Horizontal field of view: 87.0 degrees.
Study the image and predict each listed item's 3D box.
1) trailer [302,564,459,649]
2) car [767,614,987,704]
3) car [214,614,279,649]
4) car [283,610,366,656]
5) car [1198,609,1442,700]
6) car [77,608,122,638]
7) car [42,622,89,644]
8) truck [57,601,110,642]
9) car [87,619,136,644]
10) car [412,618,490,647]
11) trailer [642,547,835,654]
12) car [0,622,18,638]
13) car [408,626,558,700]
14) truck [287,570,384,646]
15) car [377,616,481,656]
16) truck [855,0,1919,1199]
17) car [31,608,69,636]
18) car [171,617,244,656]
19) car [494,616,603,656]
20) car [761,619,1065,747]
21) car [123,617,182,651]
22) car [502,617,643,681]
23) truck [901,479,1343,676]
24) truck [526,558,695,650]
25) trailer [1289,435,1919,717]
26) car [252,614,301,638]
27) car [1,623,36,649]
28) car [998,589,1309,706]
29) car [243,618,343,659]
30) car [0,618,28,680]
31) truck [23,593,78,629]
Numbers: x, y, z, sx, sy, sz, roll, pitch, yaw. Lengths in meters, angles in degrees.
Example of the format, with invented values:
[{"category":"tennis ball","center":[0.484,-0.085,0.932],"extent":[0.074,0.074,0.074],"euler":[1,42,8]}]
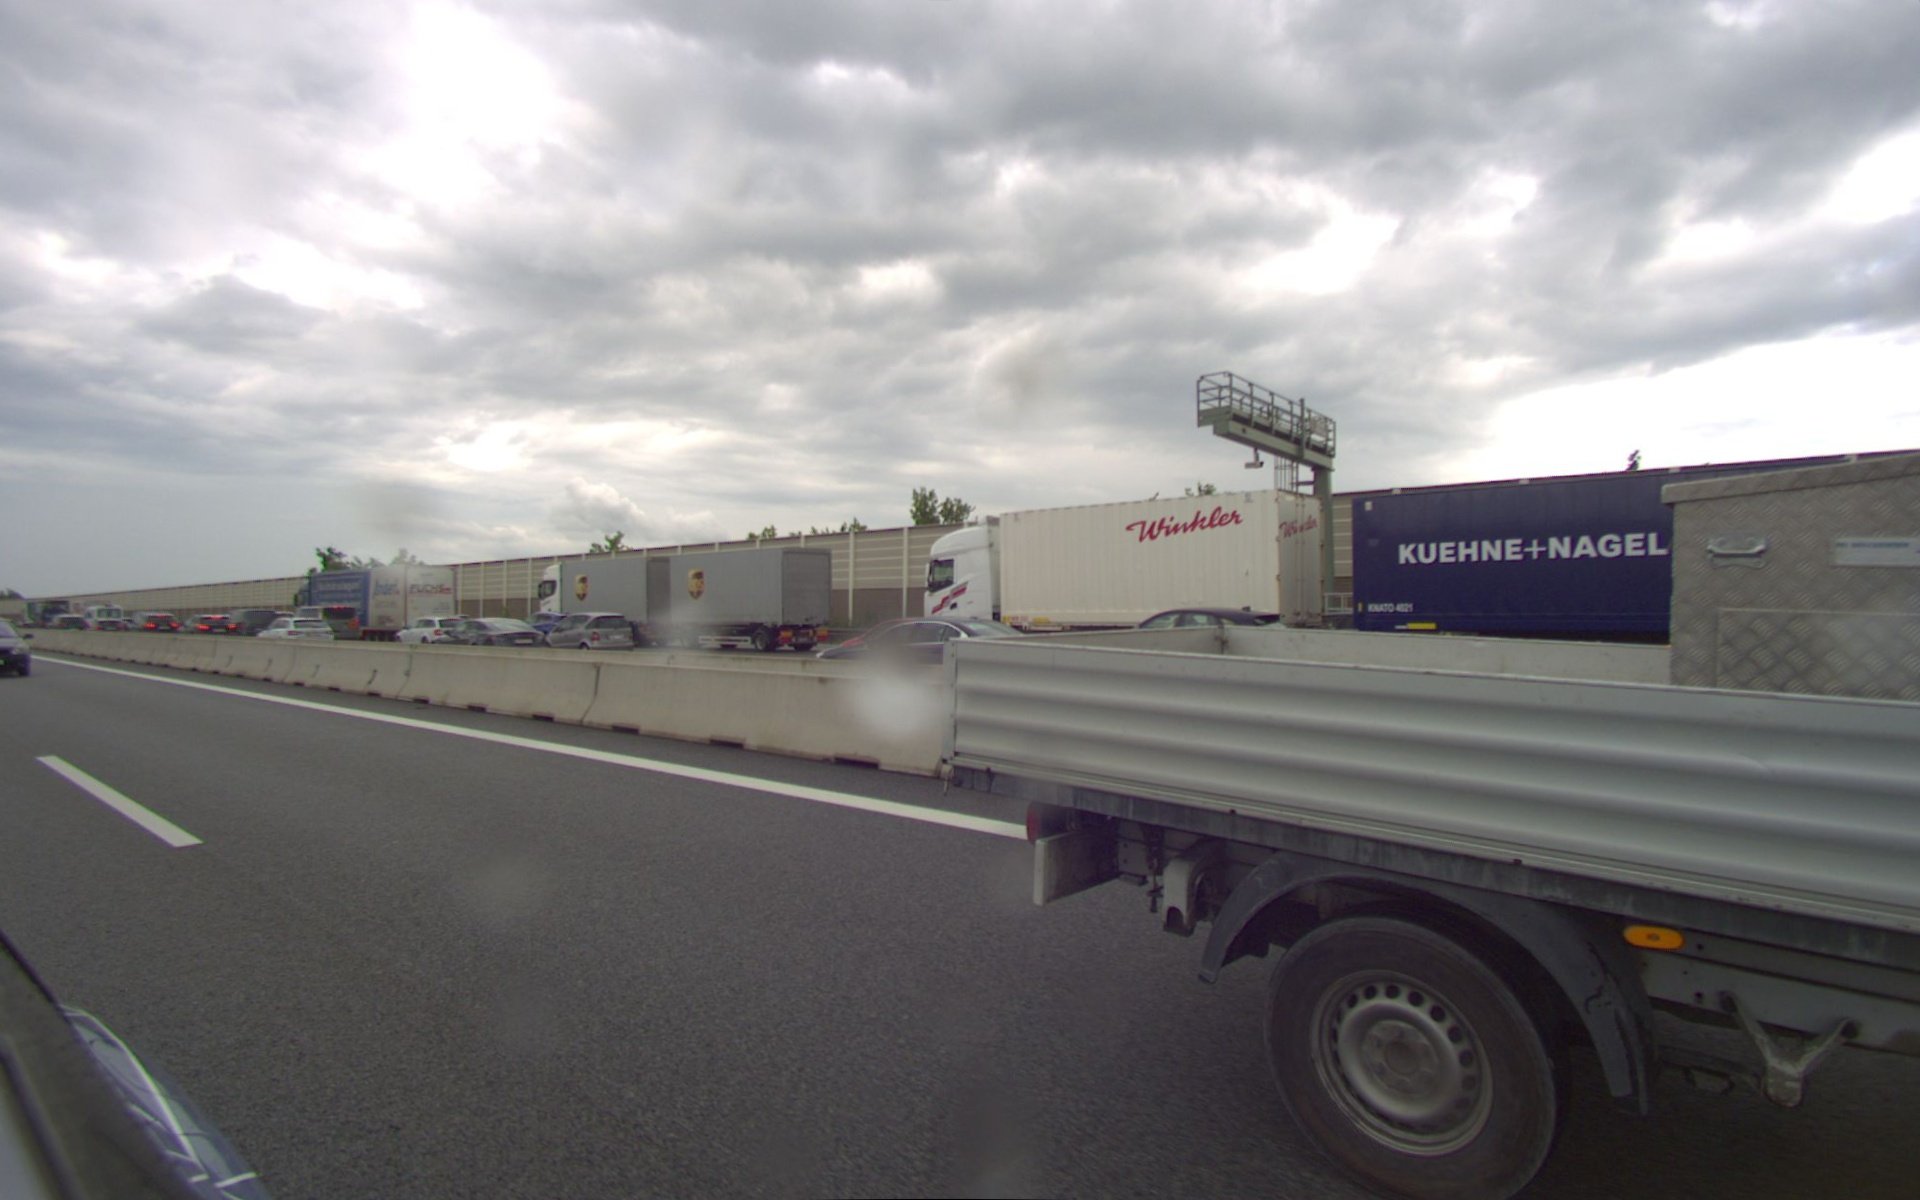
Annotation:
[{"category":"trailer","center":[-32.262,0.432,55.884],"extent":[14.308,4.192,3.026],"euler":[-1,-1,41]},{"category":"car","center":[-2.211,1.389,25.496],"extent":[5.803,2.018,2.040],"euler":[-1,-1,40]},{"category":"car","center":[-41.706,1.822,59.119],"extent":[5.430,1.912,1.913],"euler":[-1,-1,41]},{"category":"car","center":[-31.769,1.597,50.519],"extent":[5.430,2.175,2.039],"euler":[-1,-1,41]},{"category":"car","center":[8.777,1.265,24.986],"extent":[5.293,2.018,2.040],"euler":[-1,-1,40]},{"category":"car","center":[-73.801,1.931,86.773],"extent":[5.142,2.492,2.006],"euler":[-1,-1,38]},{"category":"car","center":[-67.863,2.490,76.772],"extent":[4.690,1.644,1.901],"euler":[-1,-1,38]},{"category":"truck","center":[-109.719,2.680,126.634],"extent":[11.687,4.894,3.185],"euler":[-1,-1,40]},{"category":"car","center":[-57.430,2.089,68.455],"extent":[4.205,1.644,1.794],"euler":[-1,-1,39]},{"category":"car","center":[-29.373,1.846,58.292],"extent":[5.805,1.612,2.039],"euler":[-1,-1,41]},{"category":"trailer","center":[-9.200,0.105,41.154],"extent":[9.279,3.901,2.693],"euler":[-1,-1,41]},{"category":"car","center":[-93.159,2.924,98.443],"extent":[4.357,1.516,1.621],"euler":[-1,-1,38]},{"category":"car","center":[-14.685,1.836,30.981],"extent":[5.805,2.018,2.039],"euler":[-1,-1,41]},{"category":"truck","center":[-37.138,0.518,60.143],"extent":[6.689,4.277,3.039],"euler":[-1,-1,41]},{"category":"car","center":[-22.846,1.514,43.404],"extent":[5.805,1.612,2.039],"euler":[-1,-1,41]},{"category":"truck","center":[3.067,0.169,1.961],"extent":[7.145,2.458,2.283],"euler":[-1,-1,41]},{"category":"car","center":[-93.314,2.283,103.751],"extent":[4.926,2.770,2.107],"euler":[-1,-1,38]},{"category":"car","center":[-38.732,1.847,52.051],"extent":[5.430,1.912,1.913],"euler":[-1,-1,41]},{"category":"car","center":[-17.987,1.543,44.080],"extent":[5.805,1.612,2.039],"euler":[-1,-1,41]},{"category":"car","center":[-1.033,1.371,18.676],"extent":[5.803,2.018,2.040],"euler":[-1,-1,40]},{"category":"car","center":[-48.679,2.014,60.972],"extent":[5.423,1.905,1.899],"euler":[-1,-1,41]},{"category":"car","center":[-13.331,1.594,34.617],"extent":[5.805,2.018,2.039],"euler":[-1,-1,41]},{"category":"truck","center":[3.460,-0.361,25.226],"extent":[11.063,3.975,2.906],"euler":[-1,-1,42]},{"category":"truck","center":[-16.665,0.268,47.660],"extent":[10.494,3.928,2.659],"euler":[-1,-1,41]},{"category":"trailer","center":[11.354,-0.263,18.092],"extent":[10.116,3.969,2.900],"euler":[-1,-1,42]},{"category":"car","center":[-54.275,2.038,80.316],"extent":[4.972,1.832,1.790],"euler":[-1,-1,38]},{"category":"car","center":[-103.811,3.964,111.601],"extent":[4.926,2.770,2.107],"euler":[-1,-1,38]},{"category":"car","center":[3.662,0.868,20.044],"extent":[5.803,2.018,2.040],"euler":[-1,-1,40]},{"category":"car","center":[-27.989,1.566,42.379],"extent":[5.805,1.576,2.039],"euler":[-1,-1,41]},{"category":"car","center":[-23.635,1.142,24.247],"extent":[3.999,1.413,1.558],"euler":[-1,-1,42]},{"category":"truck","center":[-130.992,1.684,145.654],"extent":[17.213,4.894,3.404],"euler":[-1,-1,40]}]
